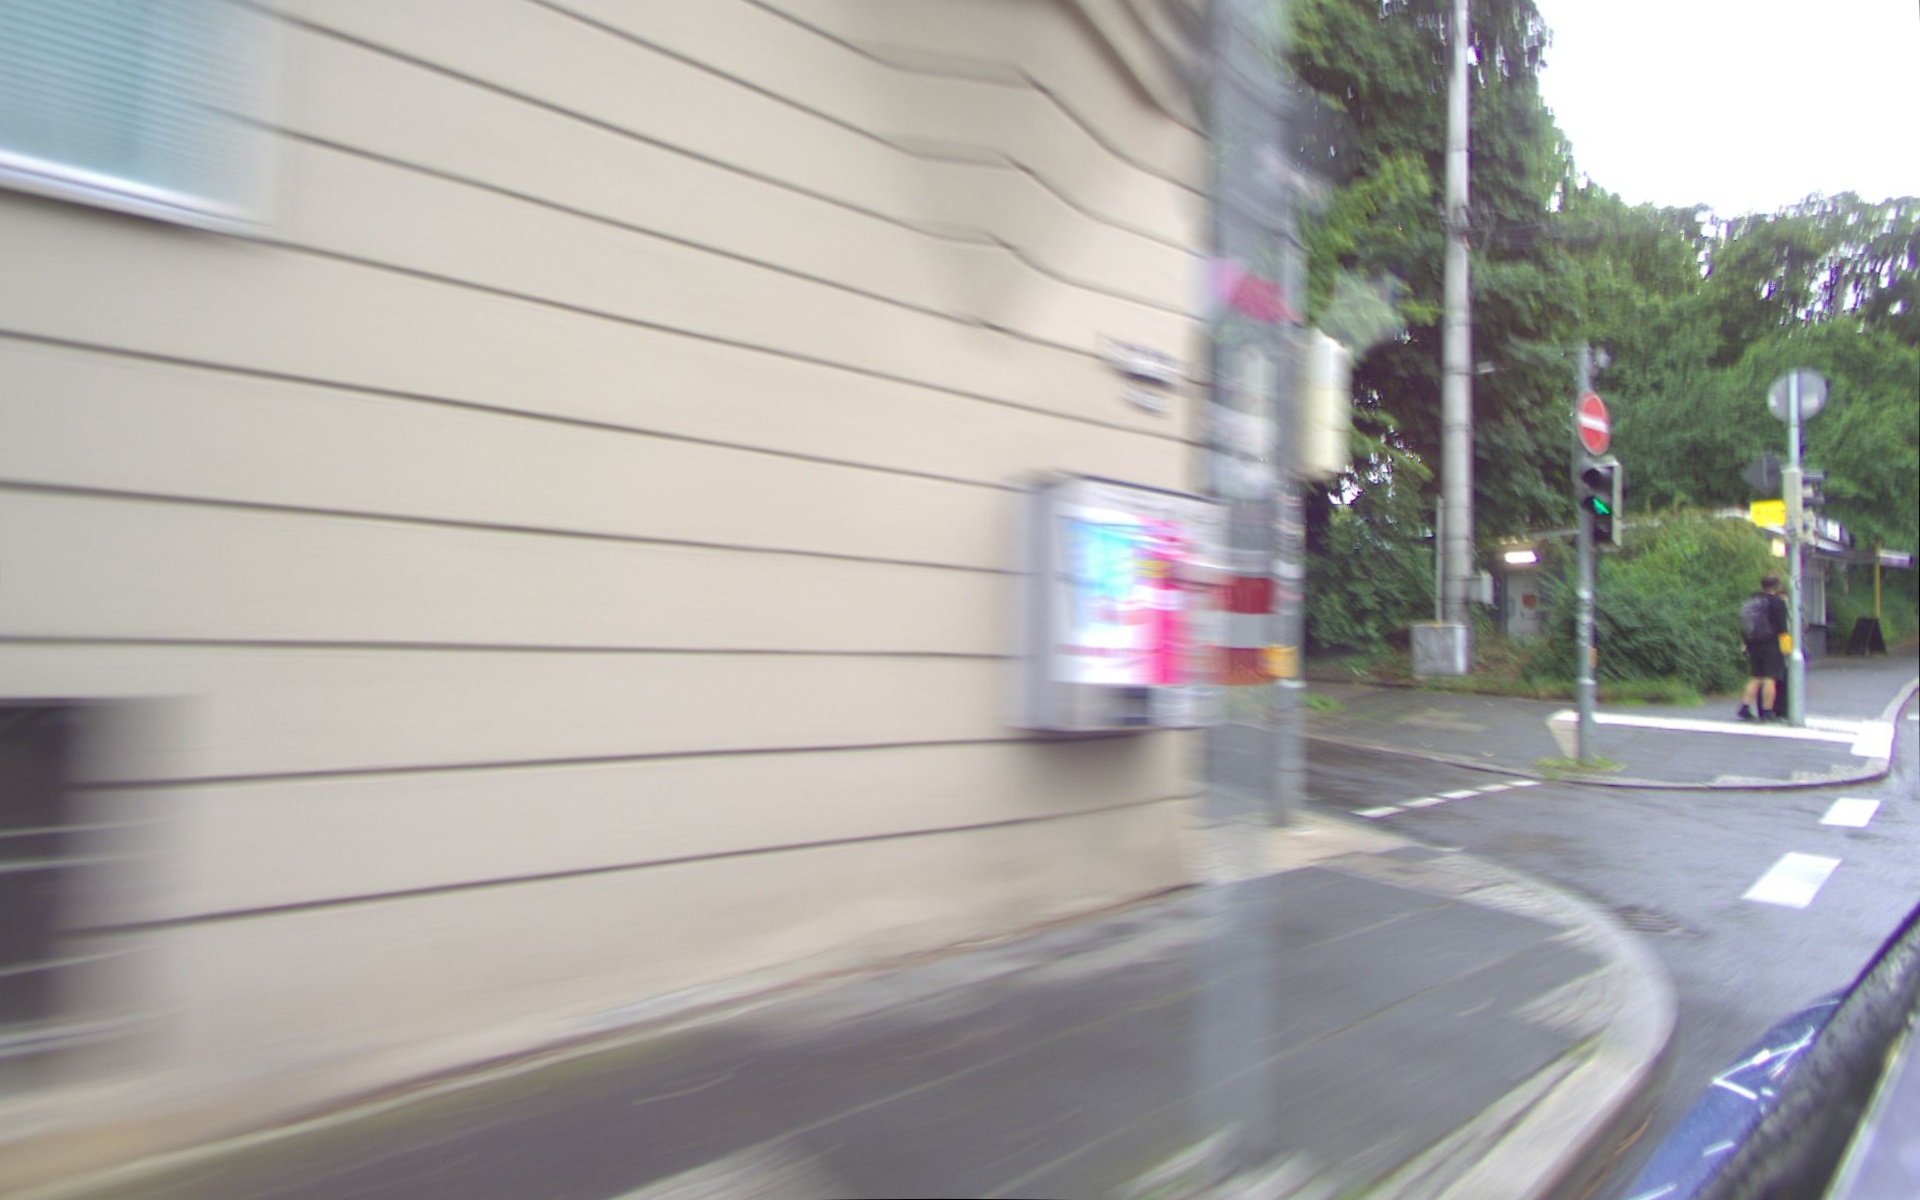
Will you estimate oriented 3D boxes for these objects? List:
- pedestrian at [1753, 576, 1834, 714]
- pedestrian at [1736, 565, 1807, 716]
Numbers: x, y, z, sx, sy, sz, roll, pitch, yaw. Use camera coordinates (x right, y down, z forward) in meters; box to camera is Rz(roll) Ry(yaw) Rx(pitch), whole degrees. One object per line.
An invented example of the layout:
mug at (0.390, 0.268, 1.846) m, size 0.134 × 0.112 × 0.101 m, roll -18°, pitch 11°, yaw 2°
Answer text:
pedestrian at (10.752, 0.562, 13.061) m, size 0.546 × 1.716 × 0.696 m, roll -1°, pitch -1°, yaw -40°
pedestrian at (10.227, 0.489, 12.748) m, size 0.639 × 1.836 × 0.554 m, roll -1°, pitch -1°, yaw -41°
